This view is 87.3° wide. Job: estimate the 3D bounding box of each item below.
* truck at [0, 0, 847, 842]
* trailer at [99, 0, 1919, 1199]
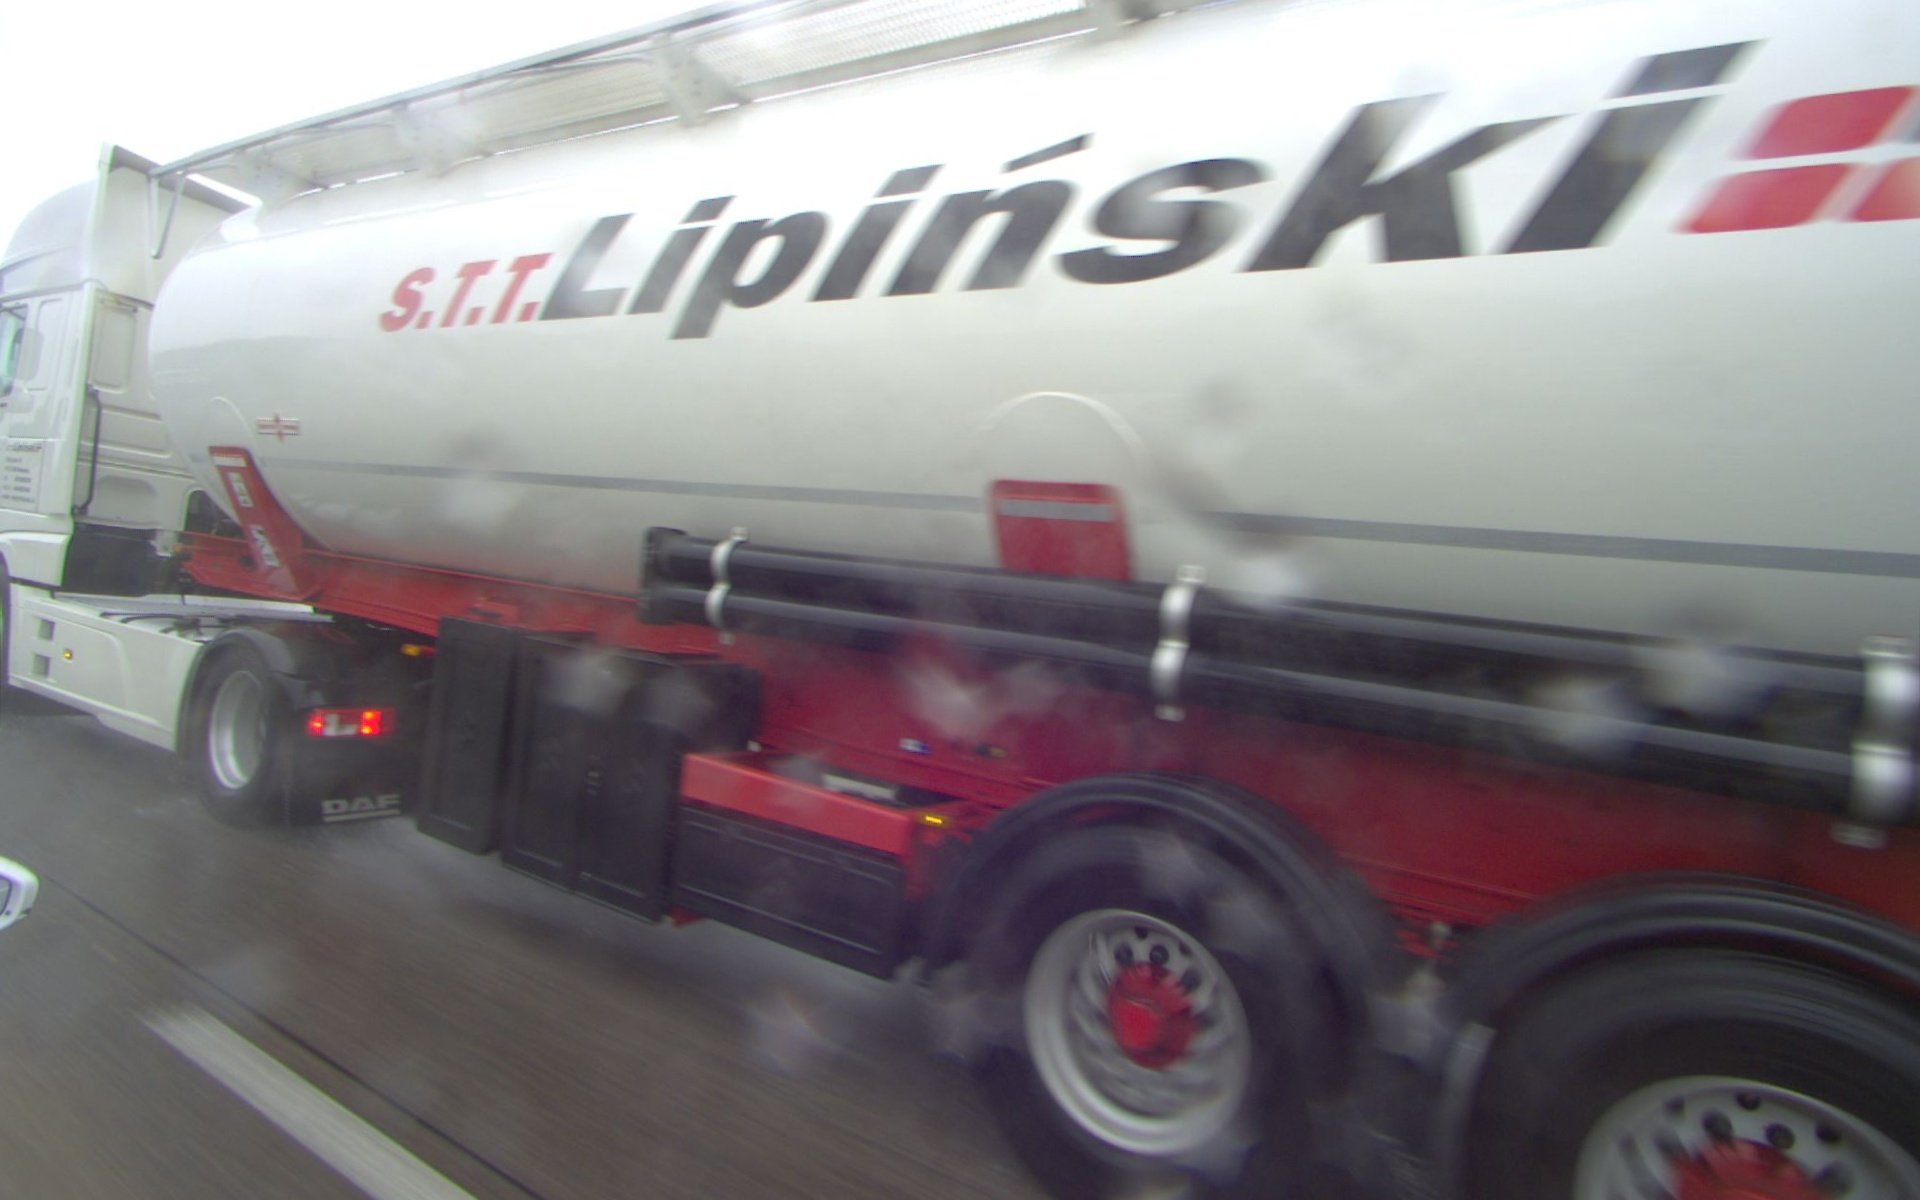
[{"bbox_3d":[-4.813,-1.046,7.607,7.092,3.851,3.110,7,-1,32],"label":"truck"},{"bbox_3d":[1.152,-0.243,3.884,11.473,3.713,3.194,7,-1,32],"label":"trailer"}]
